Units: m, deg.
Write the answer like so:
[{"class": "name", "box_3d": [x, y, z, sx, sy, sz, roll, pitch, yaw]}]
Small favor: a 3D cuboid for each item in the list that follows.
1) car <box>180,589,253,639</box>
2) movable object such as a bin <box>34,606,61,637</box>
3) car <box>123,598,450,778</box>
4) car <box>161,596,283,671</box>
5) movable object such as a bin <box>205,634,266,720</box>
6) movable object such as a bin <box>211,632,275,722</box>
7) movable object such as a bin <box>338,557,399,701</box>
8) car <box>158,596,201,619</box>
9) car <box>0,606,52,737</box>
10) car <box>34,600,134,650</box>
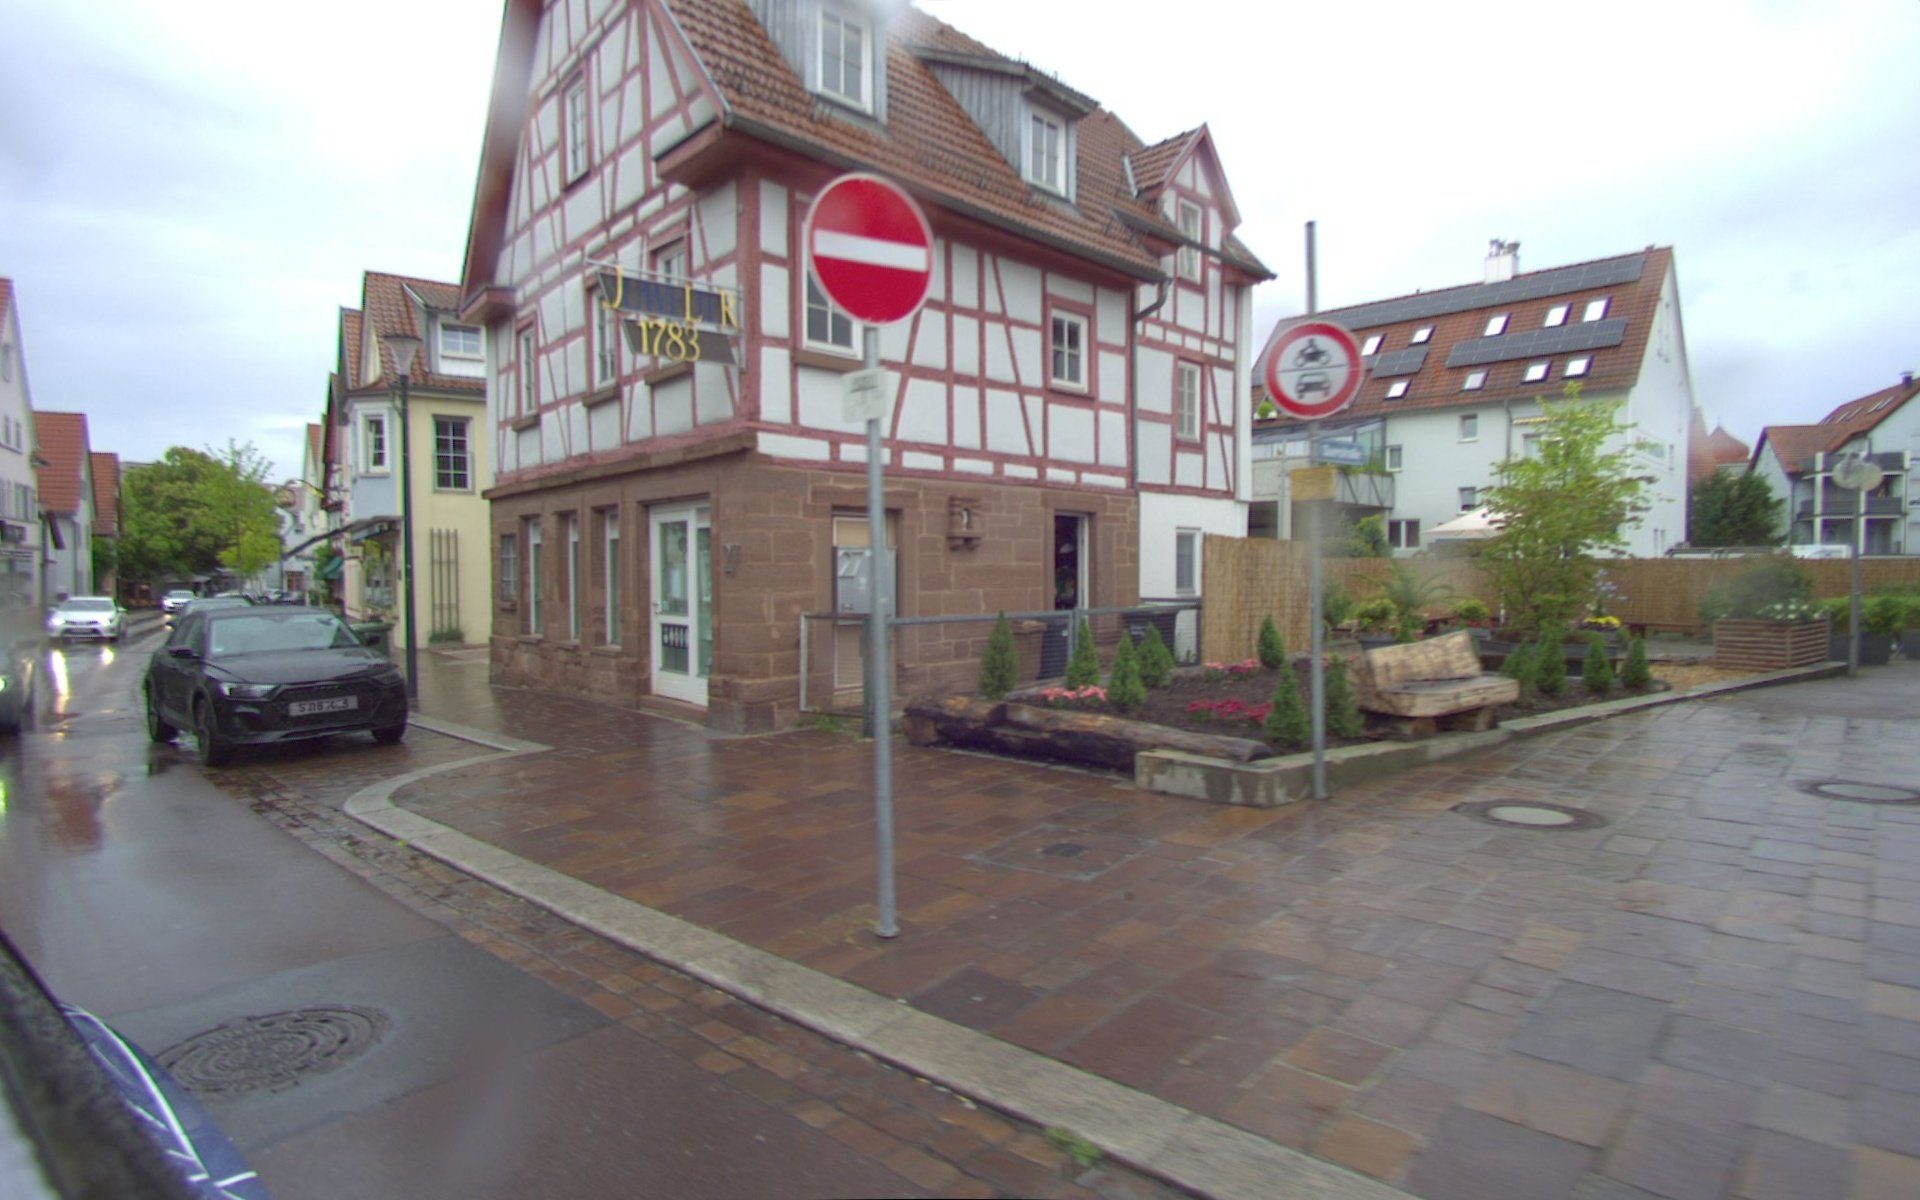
[{"class": "car", "box_3d": [-25.648, 0.431, 35.027, 1.802, 1.578, 4.011, 0, 1, -33]}, {"class": "movable object such as a bin", "box_3d": [-36.824, 0.867, 40.847, 0.709, 1.210, 0.580, 0, 1, -33]}, {"class": "car", "box_3d": [-7.349, 0.780, 10.895, 3.999, 1.505, 1.973, -1, 2, 42]}, {"class": "car", "box_3d": [-16.766, 0.677, 22.906, 1.968, 1.483, 4.007, -2, 1, -40]}, {"class": "movable object such as a bin", "box_3d": [-10.328, 1.078, 14.426, 0.622, 1.122, 0.734, -1, 1, -43]}, {"class": "movable object such as a bin", "box_3d": [-9.798, 1.027, 13.822, 0.622, 1.131, 0.734, -1, 1, -43]}, {"class": "movable object such as a bin", "box_3d": [-8.639, 0.403, 14.778, 0.622, 2.029, 0.748, -1, 1, -43]}, {"class": "car", "box_3d": [-52.949, 0.474, 68.732, 1.966, 1.464, 4.012, 0, 1, -33]}, {"class": "car", "box_3d": [-12.545, 0.791, 12.323, 1.968, 1.417, 4.902, -1, 0, -39]}, {"class": "car", "box_3d": [-29.161, 0.778, 33.831, 1.966, 1.464, 4.012, 0, 1, -33]}]
